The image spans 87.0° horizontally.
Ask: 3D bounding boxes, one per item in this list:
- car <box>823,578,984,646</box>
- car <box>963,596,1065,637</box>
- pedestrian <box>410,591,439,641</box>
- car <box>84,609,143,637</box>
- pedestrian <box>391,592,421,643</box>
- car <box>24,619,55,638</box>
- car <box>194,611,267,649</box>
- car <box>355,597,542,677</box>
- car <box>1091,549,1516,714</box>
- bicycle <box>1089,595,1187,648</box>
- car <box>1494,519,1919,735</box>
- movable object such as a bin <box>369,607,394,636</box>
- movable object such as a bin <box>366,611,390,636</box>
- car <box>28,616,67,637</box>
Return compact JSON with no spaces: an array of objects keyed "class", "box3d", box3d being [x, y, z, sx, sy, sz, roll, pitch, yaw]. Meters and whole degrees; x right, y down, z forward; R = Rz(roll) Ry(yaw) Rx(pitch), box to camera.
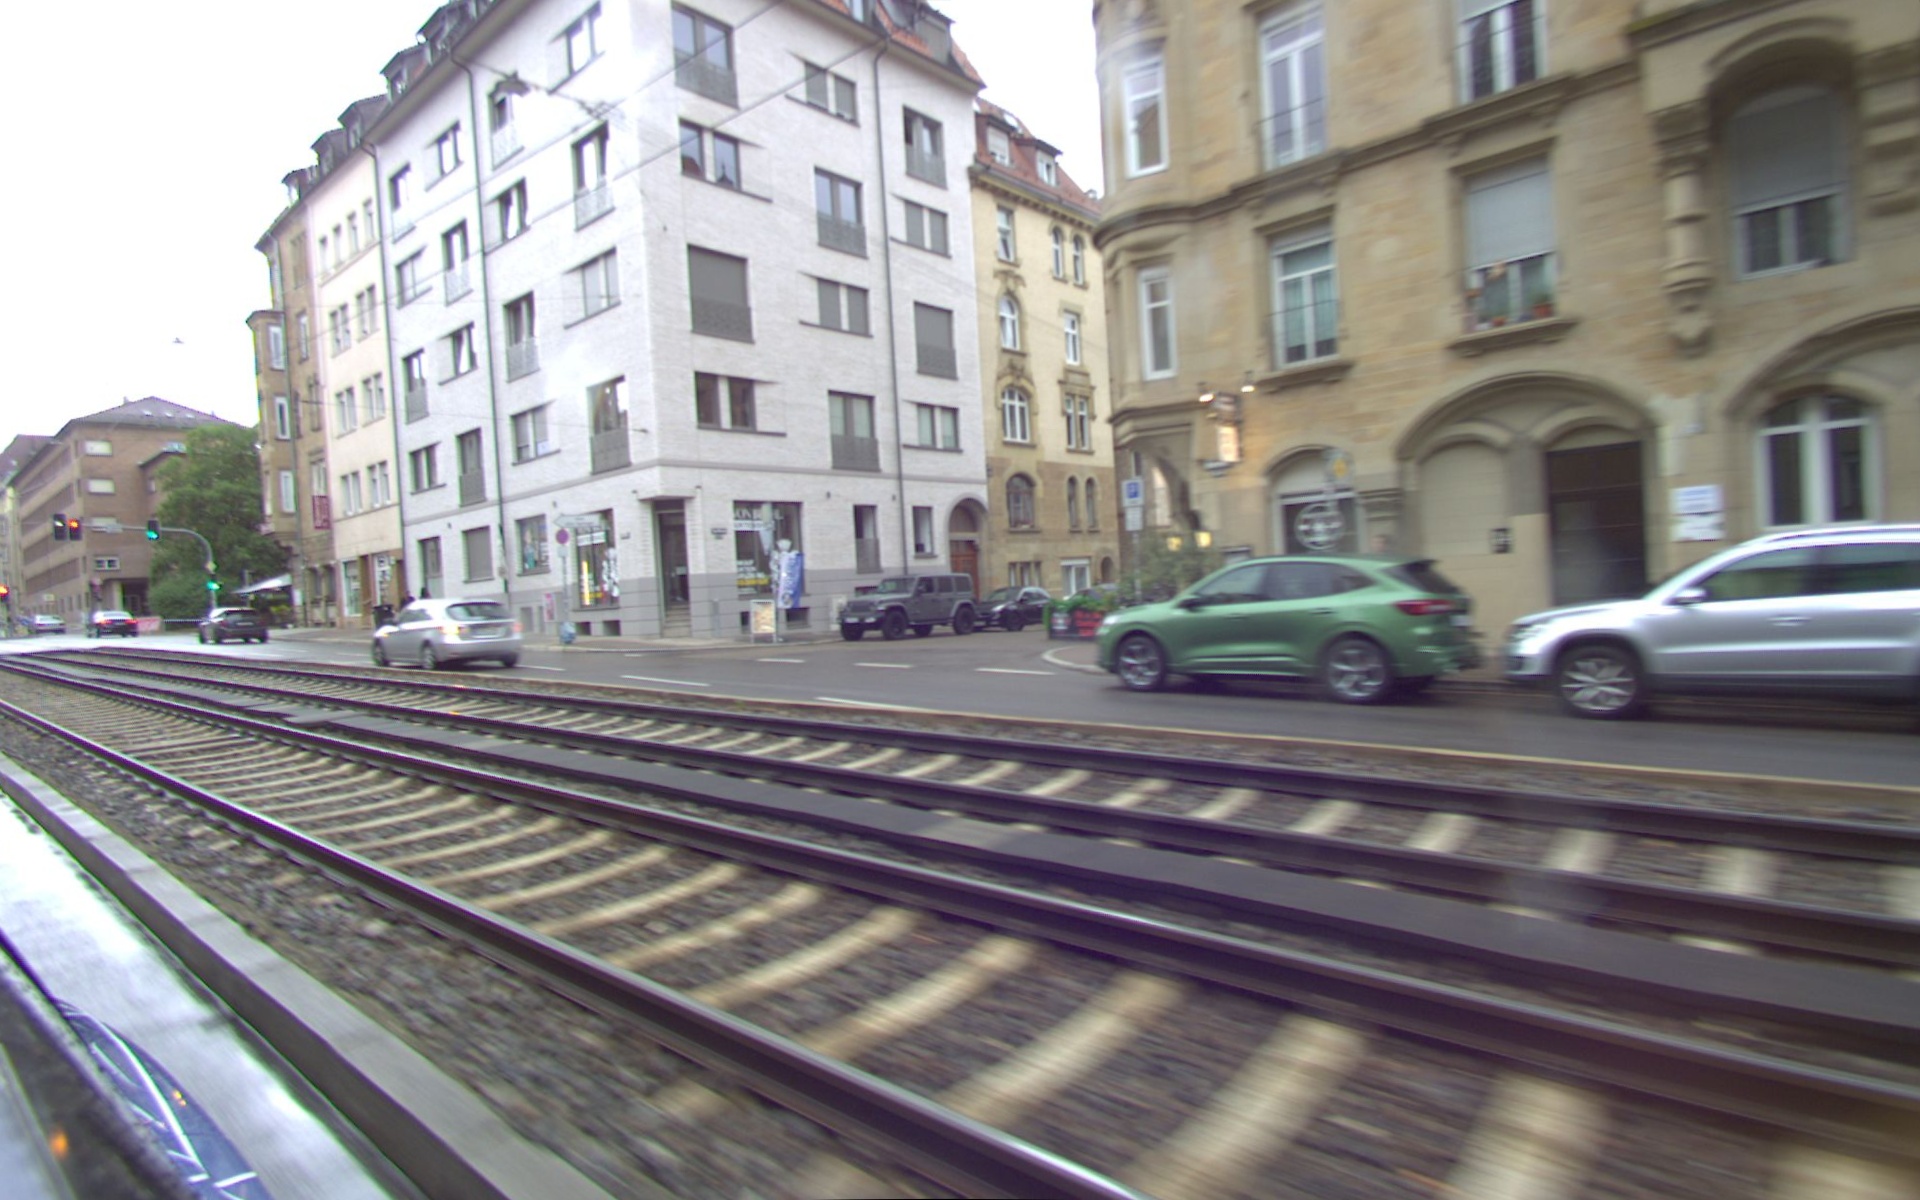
[{"class":"car","box3d":[-1.523,0.296,28.992,2.032,1.741,4.647,-2,1,38]},{"class":"car","box3d":[1.783,0.513,32.619,1.431,1.233,3.477,-2,-1,41]},{"class":"pedestrian","box3d":[-19.165,0.558,36.215,0.658,1.730,0.595,-2,3,44]},{"class":"car","box3d":[-48.600,1.316,58.076,4.860,1.468,2.065,-2,0,43]},{"class":"pedestrian","box3d":[-19.600,0.627,35.795,0.746,1.730,0.595,-2,3,44]},{"class":"car","box3d":[-77.640,2.414,85.344,3.386,1.461,1.610,-2,1,42]},{"class":"car","box3d":[-29.472,1.199,40.843,3.781,1.398,1.686,-2,0,43]},{"class":"car","box3d":[-10.732,0.740,21.113,4.291,1.468,1.961,-2,0,40]},{"class":"car","box3d":[3.928,0.334,12.103,4.430,1.614,1.838,-2,0,43]},{"class":"bicycle","box3d":[3.968,0.470,22.591,2.100,1.128,0.622,-1,-1,-20]},{"class":"car","box3d":[7.377,0.213,9.022,4.312,1.665,1.840,-2,0,40]},{"class":"movable object such as a bin","box3d":[-23.225,0.881,40.649,0.563,1.088,0.623,-2,5,41]},{"class":"movable object such as a bin","box3d":[-23.650,0.937,41.127,0.563,0.934,0.623,-2,5,41]},{"class":"car","box3d":[-68.518,2.004,75.939,4.642,1.472,1.694,-2,1,42]}]
